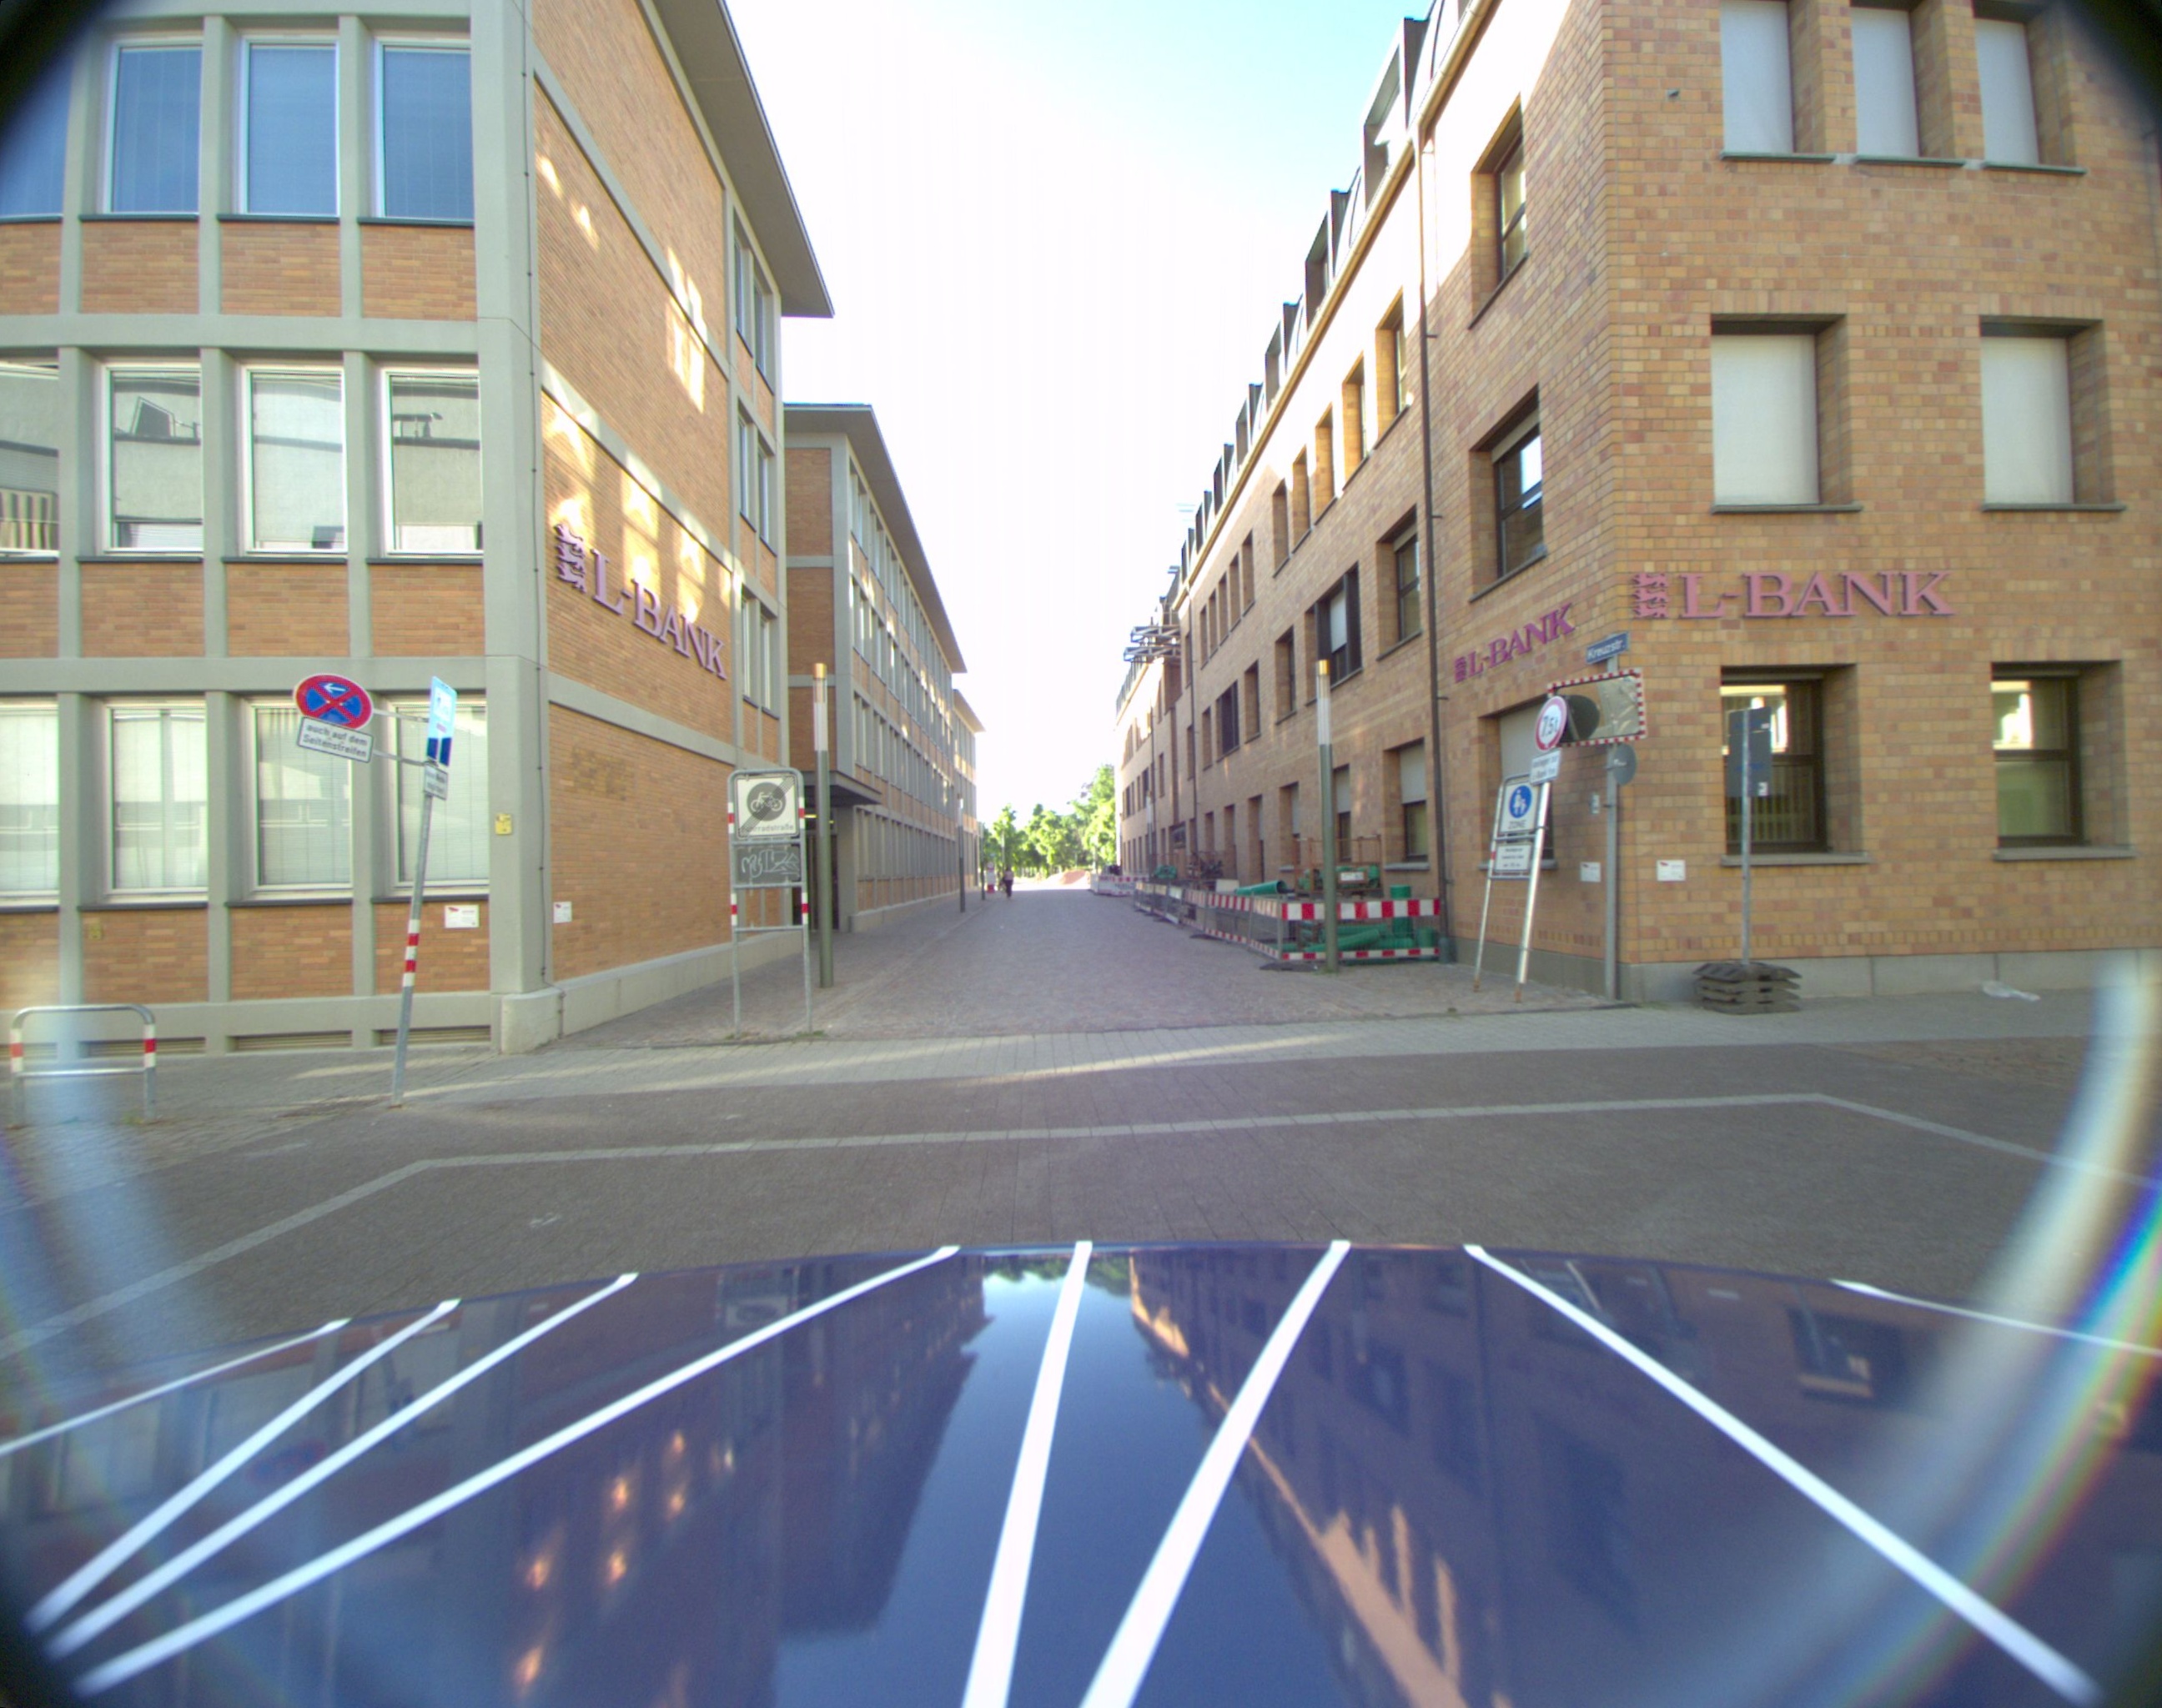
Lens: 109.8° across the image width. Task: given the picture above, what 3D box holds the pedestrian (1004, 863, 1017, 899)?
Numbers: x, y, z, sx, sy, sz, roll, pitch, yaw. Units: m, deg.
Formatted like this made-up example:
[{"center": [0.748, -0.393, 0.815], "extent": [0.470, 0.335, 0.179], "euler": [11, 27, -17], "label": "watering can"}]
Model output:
[{"center": [-3.605, 1.387, 38.896], "extent": [0.638, 1.774, 0.652], "euler": [-1, -3, -3], "label": "pedestrian"}]
